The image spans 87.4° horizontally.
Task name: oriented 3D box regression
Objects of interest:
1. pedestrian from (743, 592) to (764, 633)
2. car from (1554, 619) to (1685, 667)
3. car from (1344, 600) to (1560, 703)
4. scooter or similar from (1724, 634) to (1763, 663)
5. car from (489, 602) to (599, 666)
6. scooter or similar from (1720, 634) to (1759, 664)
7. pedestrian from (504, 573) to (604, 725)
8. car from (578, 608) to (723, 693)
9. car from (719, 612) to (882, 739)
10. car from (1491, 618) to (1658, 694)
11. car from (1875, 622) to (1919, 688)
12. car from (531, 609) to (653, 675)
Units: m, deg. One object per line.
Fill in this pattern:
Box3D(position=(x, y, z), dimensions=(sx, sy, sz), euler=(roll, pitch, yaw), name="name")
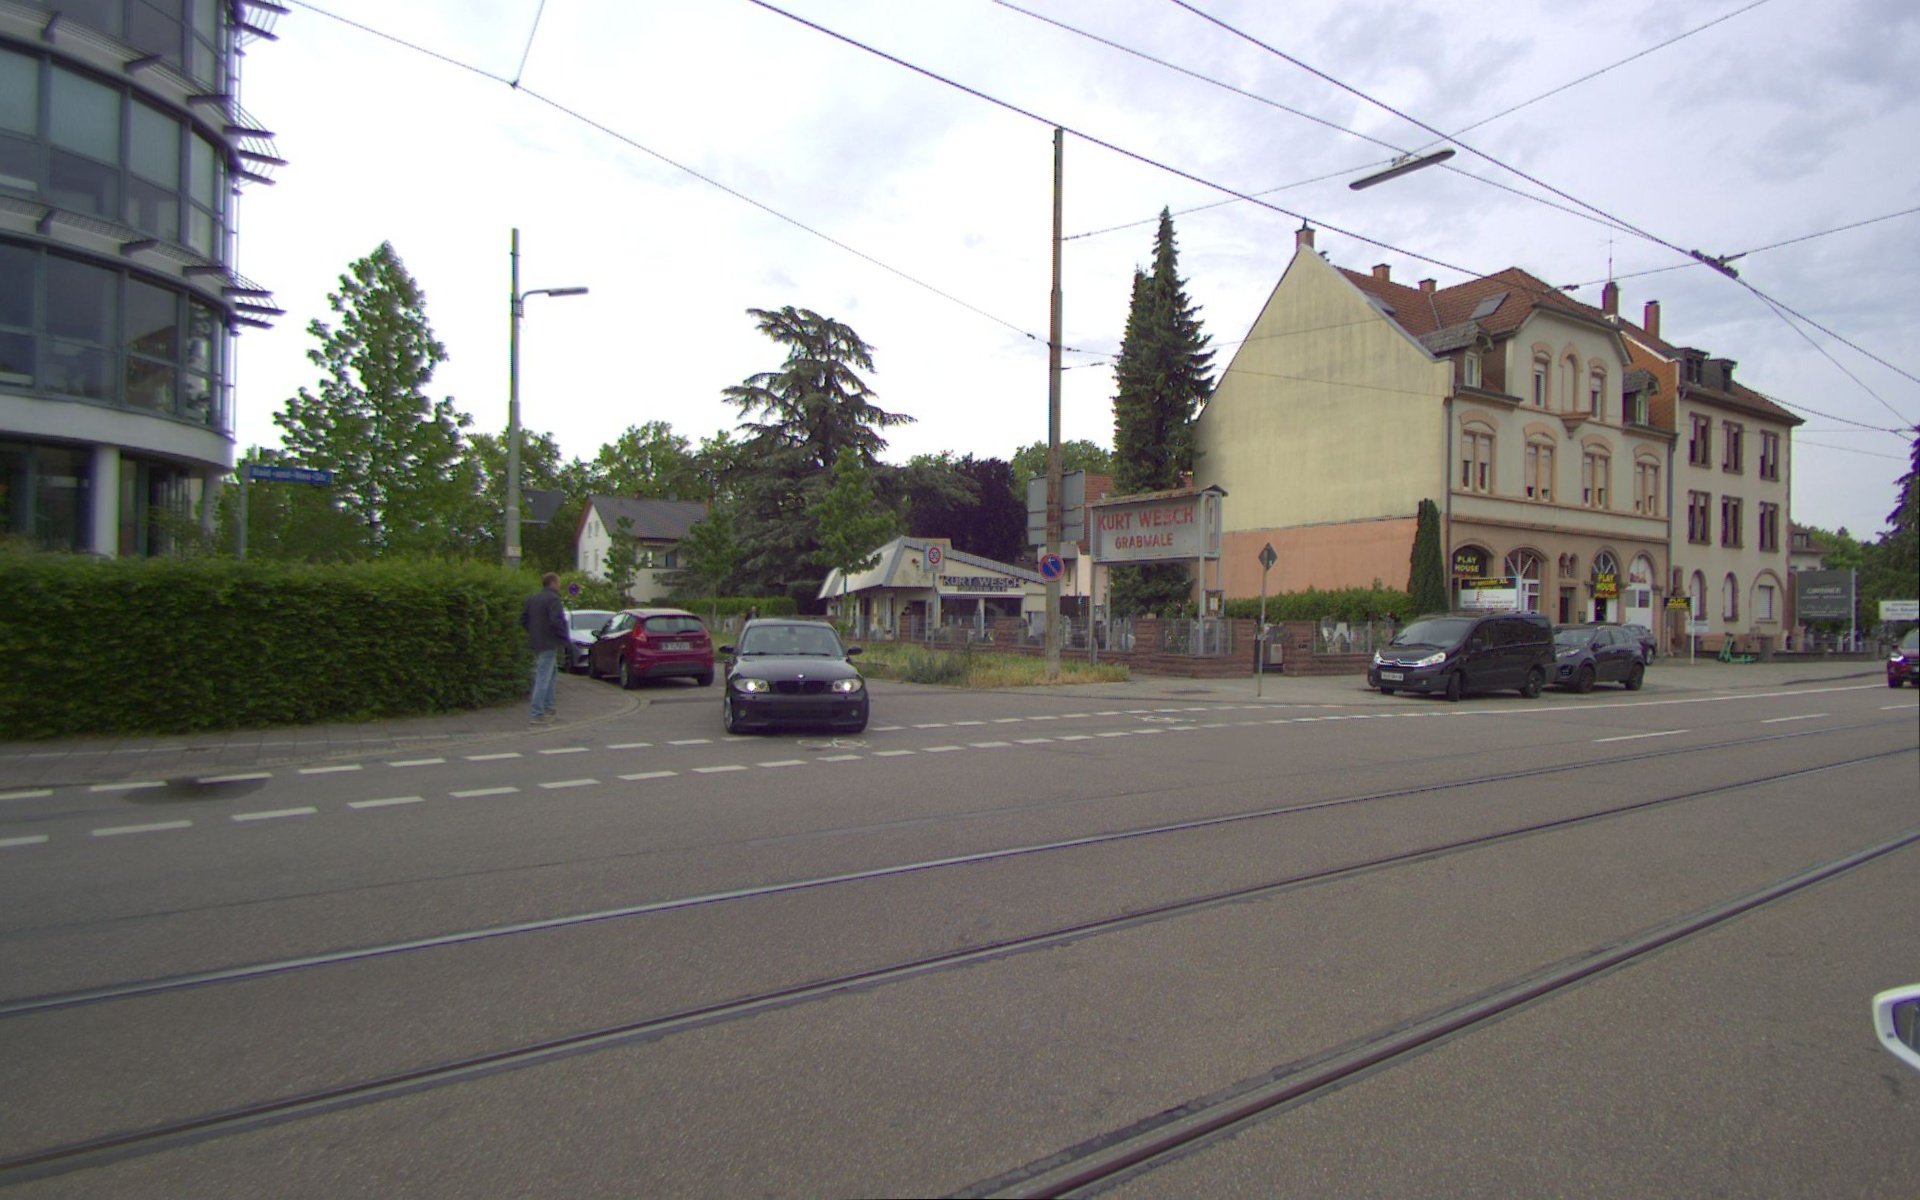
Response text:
Box3D(position=(-9.147, 0.557, 44.510), dimensions=(0.752, 1.798, 0.631), euler=(2, 0, -28), name="pedestrian")
Box3D(position=(23.094, 1.493, 35.111), dimensions=(4.848, 1.512, 1.983), euler=(2, -1, -32), name="car")
Box3D(position=(11.146, 1.109, 22.629), dimensions=(5.129, 2.040, 1.975), euler=(2, 1, -33), name="car")
Box3D(position=(31.695, 1.962, 40.659), dimensions=(1.157, 1.116, 0.527), euler=(1, 0, 30), name="scooter or similar")
Box3D(position=(-11.862, 0.922, 28.503), dimensions=(1.981, 1.673, 3.959), euler=(2, -1, -36), name="car")
Box3D(position=(31.096, 1.942, 40.077), dimensions=(1.157, 1.116, 0.527), euler=(1, 0, 30), name="scooter or similar")
Box3D(position=(-5.205, 0.605, 12.864), dimensions=(1.047, 1.849, 0.800), euler=(2, 0, -30), name="pedestrian")
Box3D(position=(-6.189, 0.906, 19.814), dimensions=(1.707, 1.441, 3.983), euler=(-1, 0, -33), name="car")
Box3D(position=(-2.307, 0.906, 13.612), dimensions=(1.758, 1.387, 4.100), euler=(2, 0, -15), name="car")
Box3D(position=(16.120, 1.386, 26.294), dimensions=(4.487, 1.773, 2.024), euler=(1, 1, -34), name="car")
Box3D(position=(27.588, 1.542, 28.387), dimensions=(4.368, 1.747, 1.828), euler=(2, -1, -38), name="car")
Box3D(position=(-8.744, 0.939, 23.682), dimensions=(1.761, 1.367, 4.009), euler=(2, -1, -35), name="car")
